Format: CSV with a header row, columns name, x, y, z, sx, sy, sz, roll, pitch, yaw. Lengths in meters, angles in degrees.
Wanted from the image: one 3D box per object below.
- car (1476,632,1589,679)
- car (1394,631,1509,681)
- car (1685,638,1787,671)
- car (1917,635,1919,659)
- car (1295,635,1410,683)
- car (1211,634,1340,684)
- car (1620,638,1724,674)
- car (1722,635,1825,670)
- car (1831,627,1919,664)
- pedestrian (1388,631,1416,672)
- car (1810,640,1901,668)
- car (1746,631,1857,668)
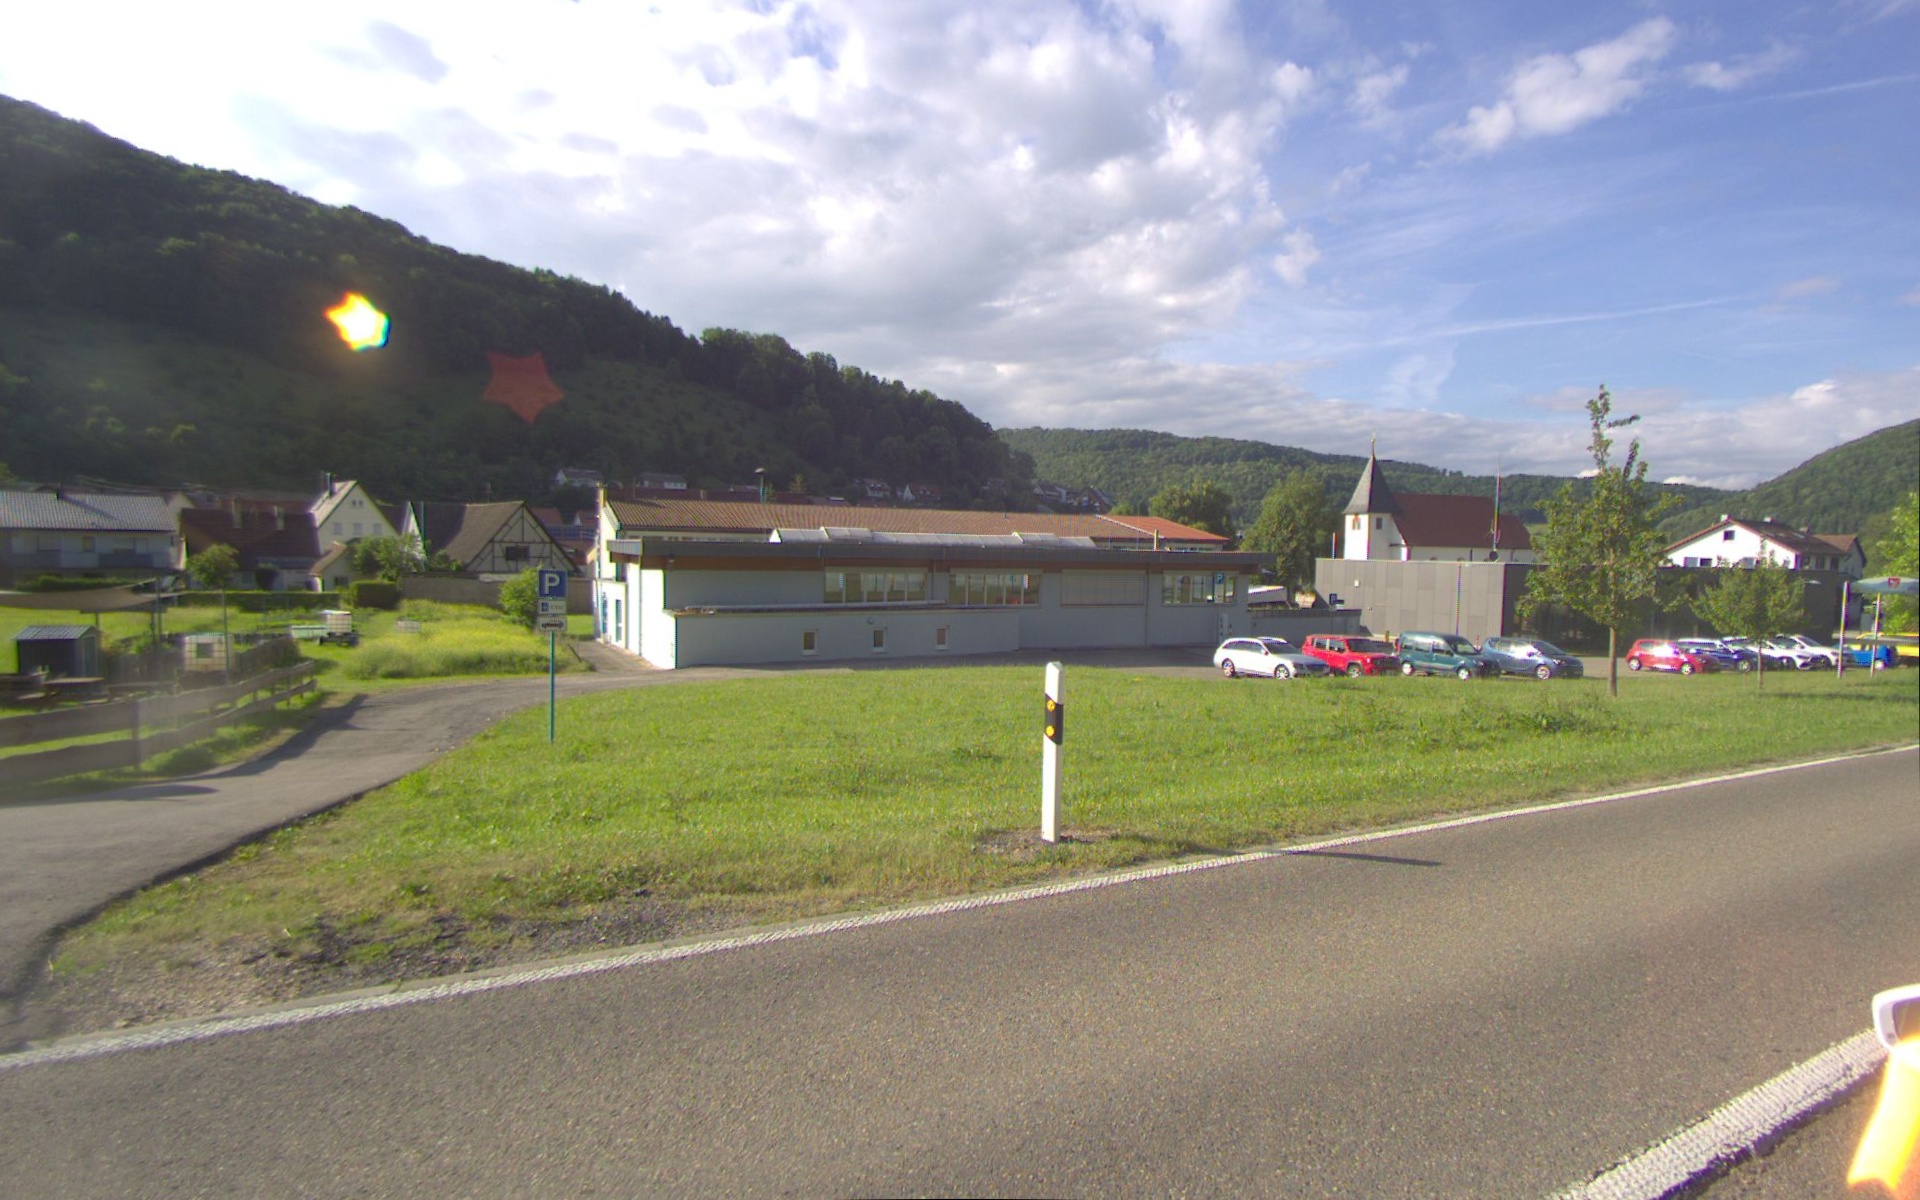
name,x,y,z,sx,sy,sz,roll,pitch,yaw
car,23.768,2.267,41.842,1.708,1.745,3.807,1,-1,-24
car,19.540,2.184,40.050,1.733,1.745,3.848,1,0,-26
car,37.217,2.575,48.270,1.574,1.424,3.616,0,-1,-23
car,59.420,2.845,59.491,1.488,1.458,3.703,1,-1,-23
car,14.625,2.158,37.625,1.732,1.600,3.909,1,-1,-24
car,11.561,2.122,37.175,1.973,1.610,4.628,1,-1,-24
car,32.699,2.542,46.218,1.625,1.463,3.616,1,-1,-23
car,40.169,2.576,49.701,1.574,1.514,3.657,-1,0,-23
car,50.767,2.462,54.848,1.815,1.839,4.542,1,-1,-23
pedestrian,18.884,2.184,42.927,0.698,1.716,0.789,1,1,-34
car,48.207,2.874,54.115,1.641,1.392,3.352,1,-1,-31
car,42.901,2.501,51.311,1.574,1.695,4.067,0,0,-23
